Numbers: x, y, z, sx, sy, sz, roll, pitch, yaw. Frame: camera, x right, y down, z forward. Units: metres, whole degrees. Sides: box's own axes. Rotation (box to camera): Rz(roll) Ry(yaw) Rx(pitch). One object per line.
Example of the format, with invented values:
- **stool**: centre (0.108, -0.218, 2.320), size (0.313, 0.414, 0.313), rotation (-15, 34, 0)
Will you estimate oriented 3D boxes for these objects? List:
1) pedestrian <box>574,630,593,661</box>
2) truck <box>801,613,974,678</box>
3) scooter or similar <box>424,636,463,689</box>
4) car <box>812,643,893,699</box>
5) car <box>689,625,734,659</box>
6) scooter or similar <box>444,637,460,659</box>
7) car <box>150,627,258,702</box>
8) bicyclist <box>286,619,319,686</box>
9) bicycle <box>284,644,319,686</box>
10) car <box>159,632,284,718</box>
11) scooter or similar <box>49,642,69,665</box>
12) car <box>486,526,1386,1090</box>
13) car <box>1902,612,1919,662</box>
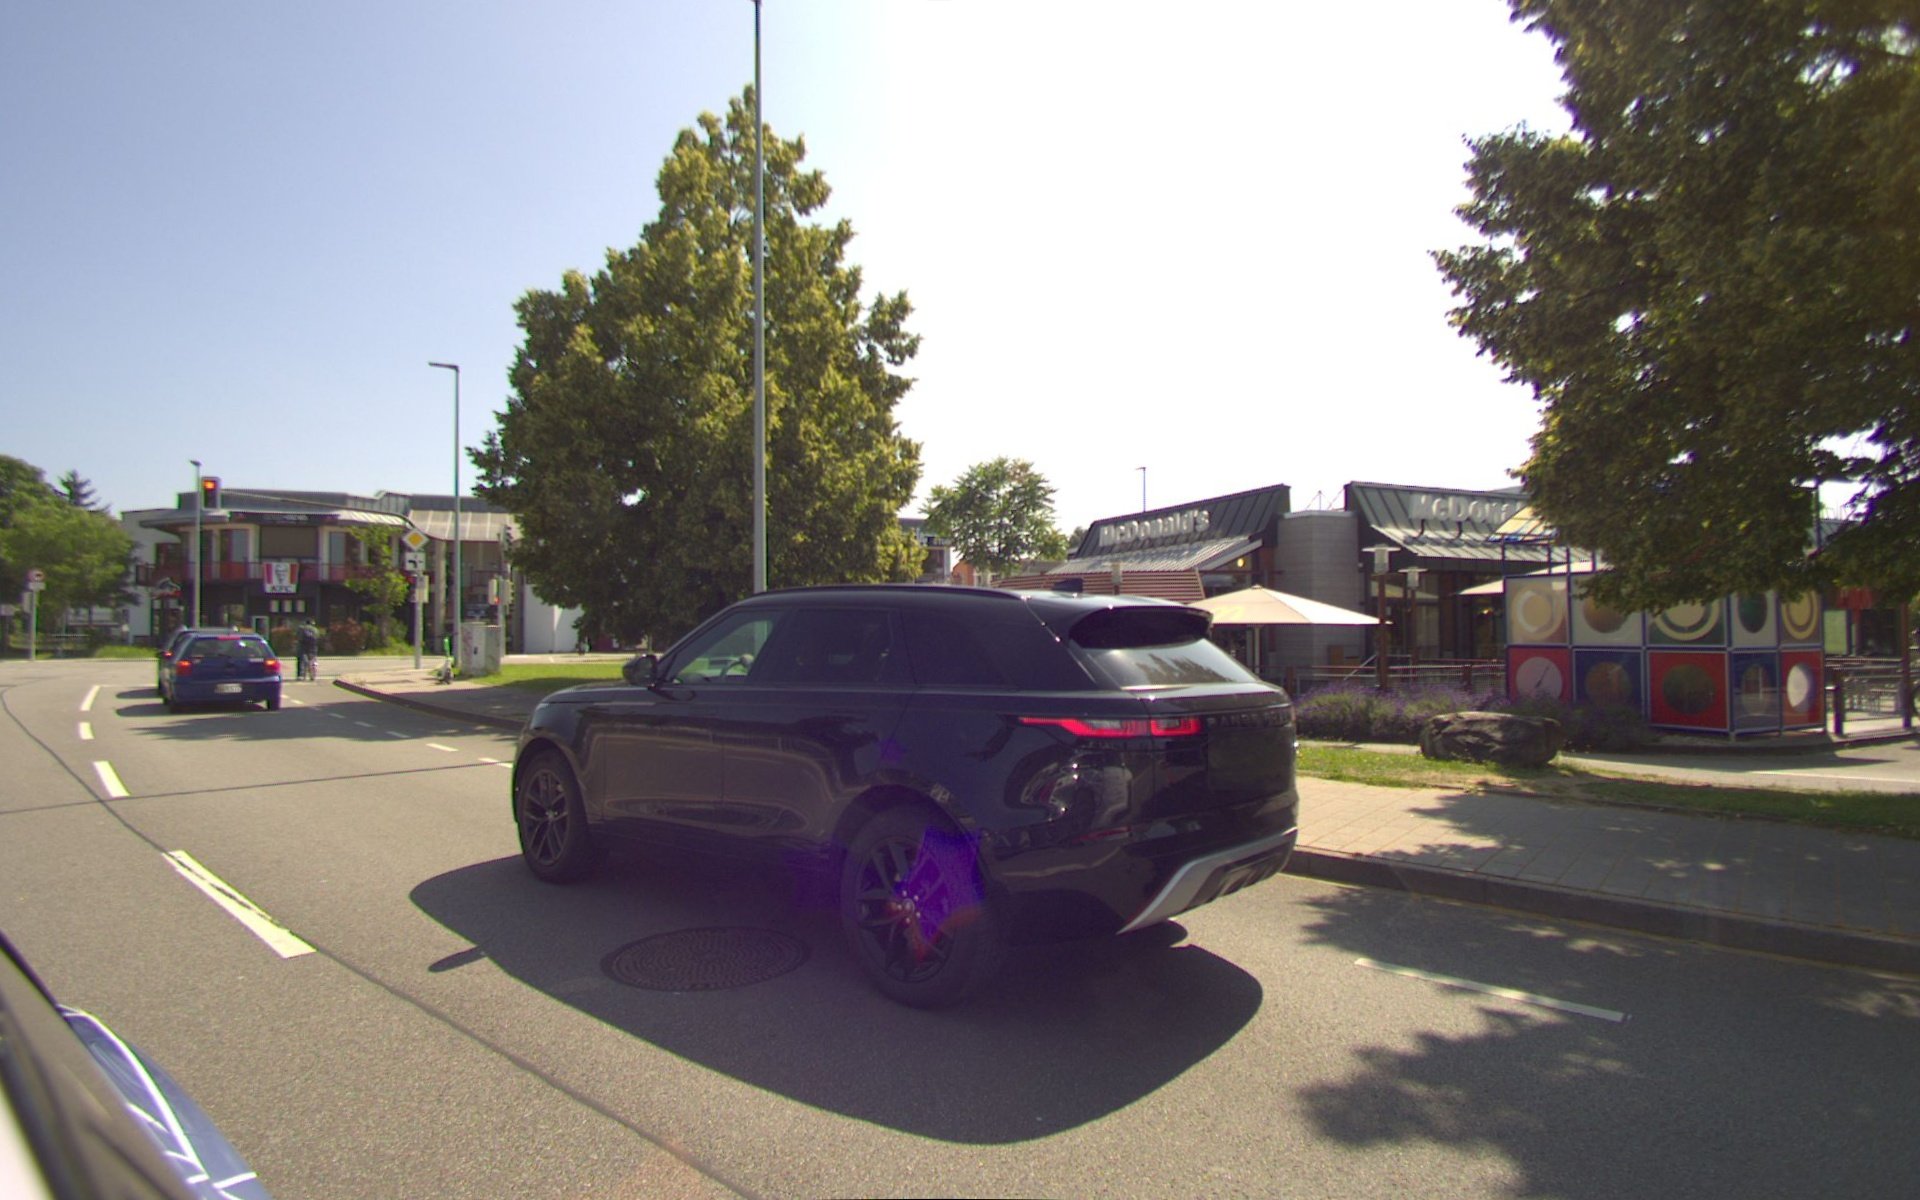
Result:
- **pedestrian**: centre (-20.056, 2.418, 53.898), size (0.723, 1.658, 0.842), rotation (0, -2, -4)
- **truck**: centre (-4.043, 2.519, 56.678), size (9.009, 3.412, 3.325), rotation (0, -3, -23)
- **scooter or similar**: centre (-11.957, 1.431, 23.410), size (0.465, 1.193, 1.367), rotation (2, -3, -41)
- **car**: centre (-3.319, 2.081, 30.485), size (1.834, 1.564, 4.199), rotation (1, -2, -14)
- **car**: centre (-14.705, 2.476, 59.771), size (1.777, 1.870, 4.674), rotation (1, -3, -24)
- **scooter or similar**: centre (-27.065, 2.558, 53.914), size (0.492, 1.132, 1.508), rotation (1, -2, -16)
- **car**: centre (-17.082, 1.391, 22.798), size (1.757, 1.508, 4.731), rotation (2, -3, -38)
- **bicyclist**: centre (-18.028, 1.434, 27.758), size (0.701, 1.802, 0.811), rotation (2, -3, -35)
- **bicycle**: centre (-18.073, 1.770, 27.770), size (0.688, 1.113, 1.759), rotation (3, -4, -35)
- **car**: centre (-13.585, 1.303, 18.534), size (1.635, 1.391, 4.007), rotation (2, -3, -39)
- **scooter or similar**: centre (-45.499, 2.710, 51.112), size (0.420, 1.132, 1.456), rotation (1, -3, -30)
- **car**: centre (-0.456, 0.716, 5.324), size (4.609, 1.708, 1.930), rotation (-2, -3, 40)
- **car**: centre (43.678, 1.556, 43.084), size (1.965, 2.194, 4.818), rotation (1, -3, -29)
